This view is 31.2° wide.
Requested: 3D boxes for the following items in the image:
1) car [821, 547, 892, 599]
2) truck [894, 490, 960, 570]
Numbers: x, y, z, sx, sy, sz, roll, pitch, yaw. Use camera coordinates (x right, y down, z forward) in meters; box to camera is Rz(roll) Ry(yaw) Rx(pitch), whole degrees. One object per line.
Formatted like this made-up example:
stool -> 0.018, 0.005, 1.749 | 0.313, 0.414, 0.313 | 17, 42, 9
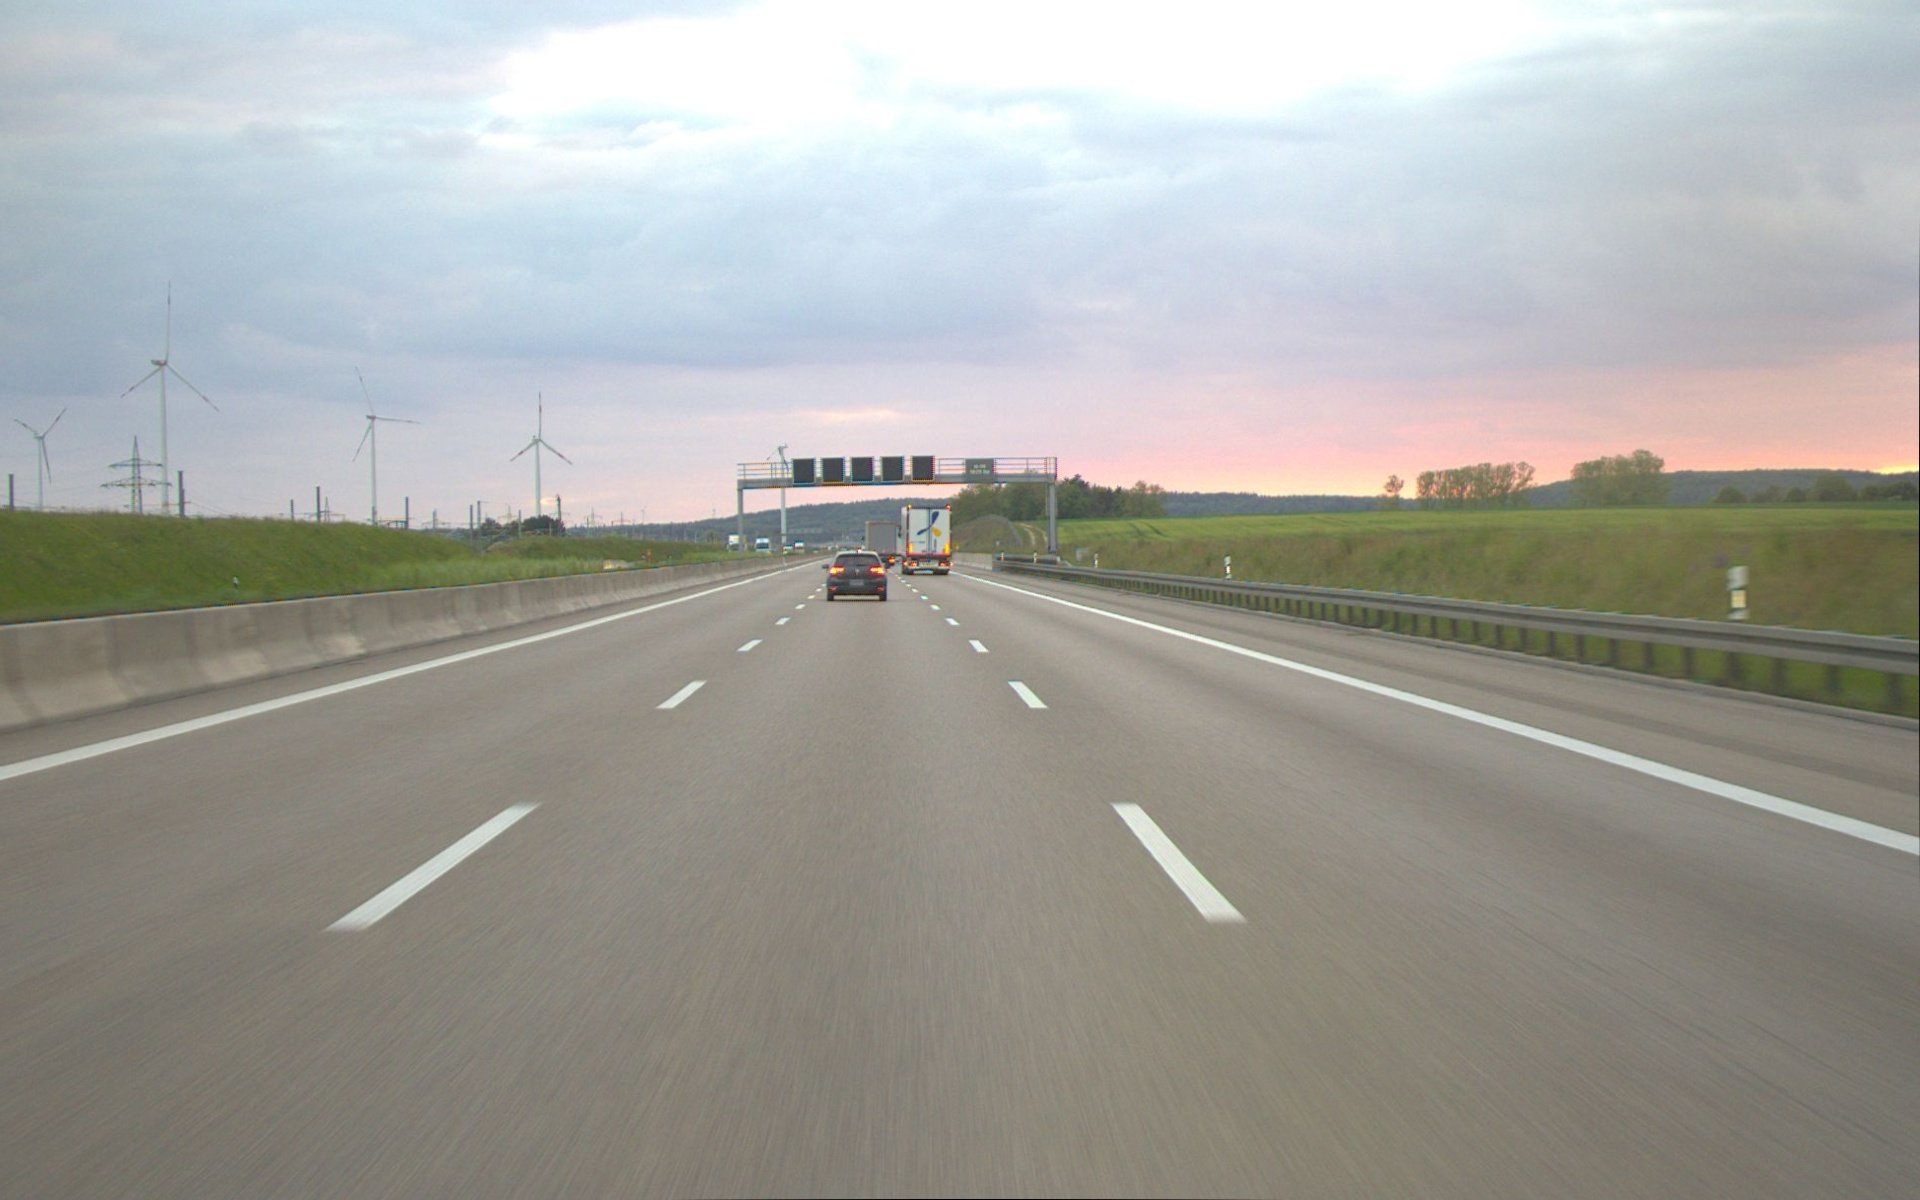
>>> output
car -> -2.976, -0.800, 99.527 | 1.987, 1.425, 4.001 | -1, 1, -1
truck -> -1.986, -4.125, 203.246 | 3.675, 4.549, 10.982 | -1, 1, -1
